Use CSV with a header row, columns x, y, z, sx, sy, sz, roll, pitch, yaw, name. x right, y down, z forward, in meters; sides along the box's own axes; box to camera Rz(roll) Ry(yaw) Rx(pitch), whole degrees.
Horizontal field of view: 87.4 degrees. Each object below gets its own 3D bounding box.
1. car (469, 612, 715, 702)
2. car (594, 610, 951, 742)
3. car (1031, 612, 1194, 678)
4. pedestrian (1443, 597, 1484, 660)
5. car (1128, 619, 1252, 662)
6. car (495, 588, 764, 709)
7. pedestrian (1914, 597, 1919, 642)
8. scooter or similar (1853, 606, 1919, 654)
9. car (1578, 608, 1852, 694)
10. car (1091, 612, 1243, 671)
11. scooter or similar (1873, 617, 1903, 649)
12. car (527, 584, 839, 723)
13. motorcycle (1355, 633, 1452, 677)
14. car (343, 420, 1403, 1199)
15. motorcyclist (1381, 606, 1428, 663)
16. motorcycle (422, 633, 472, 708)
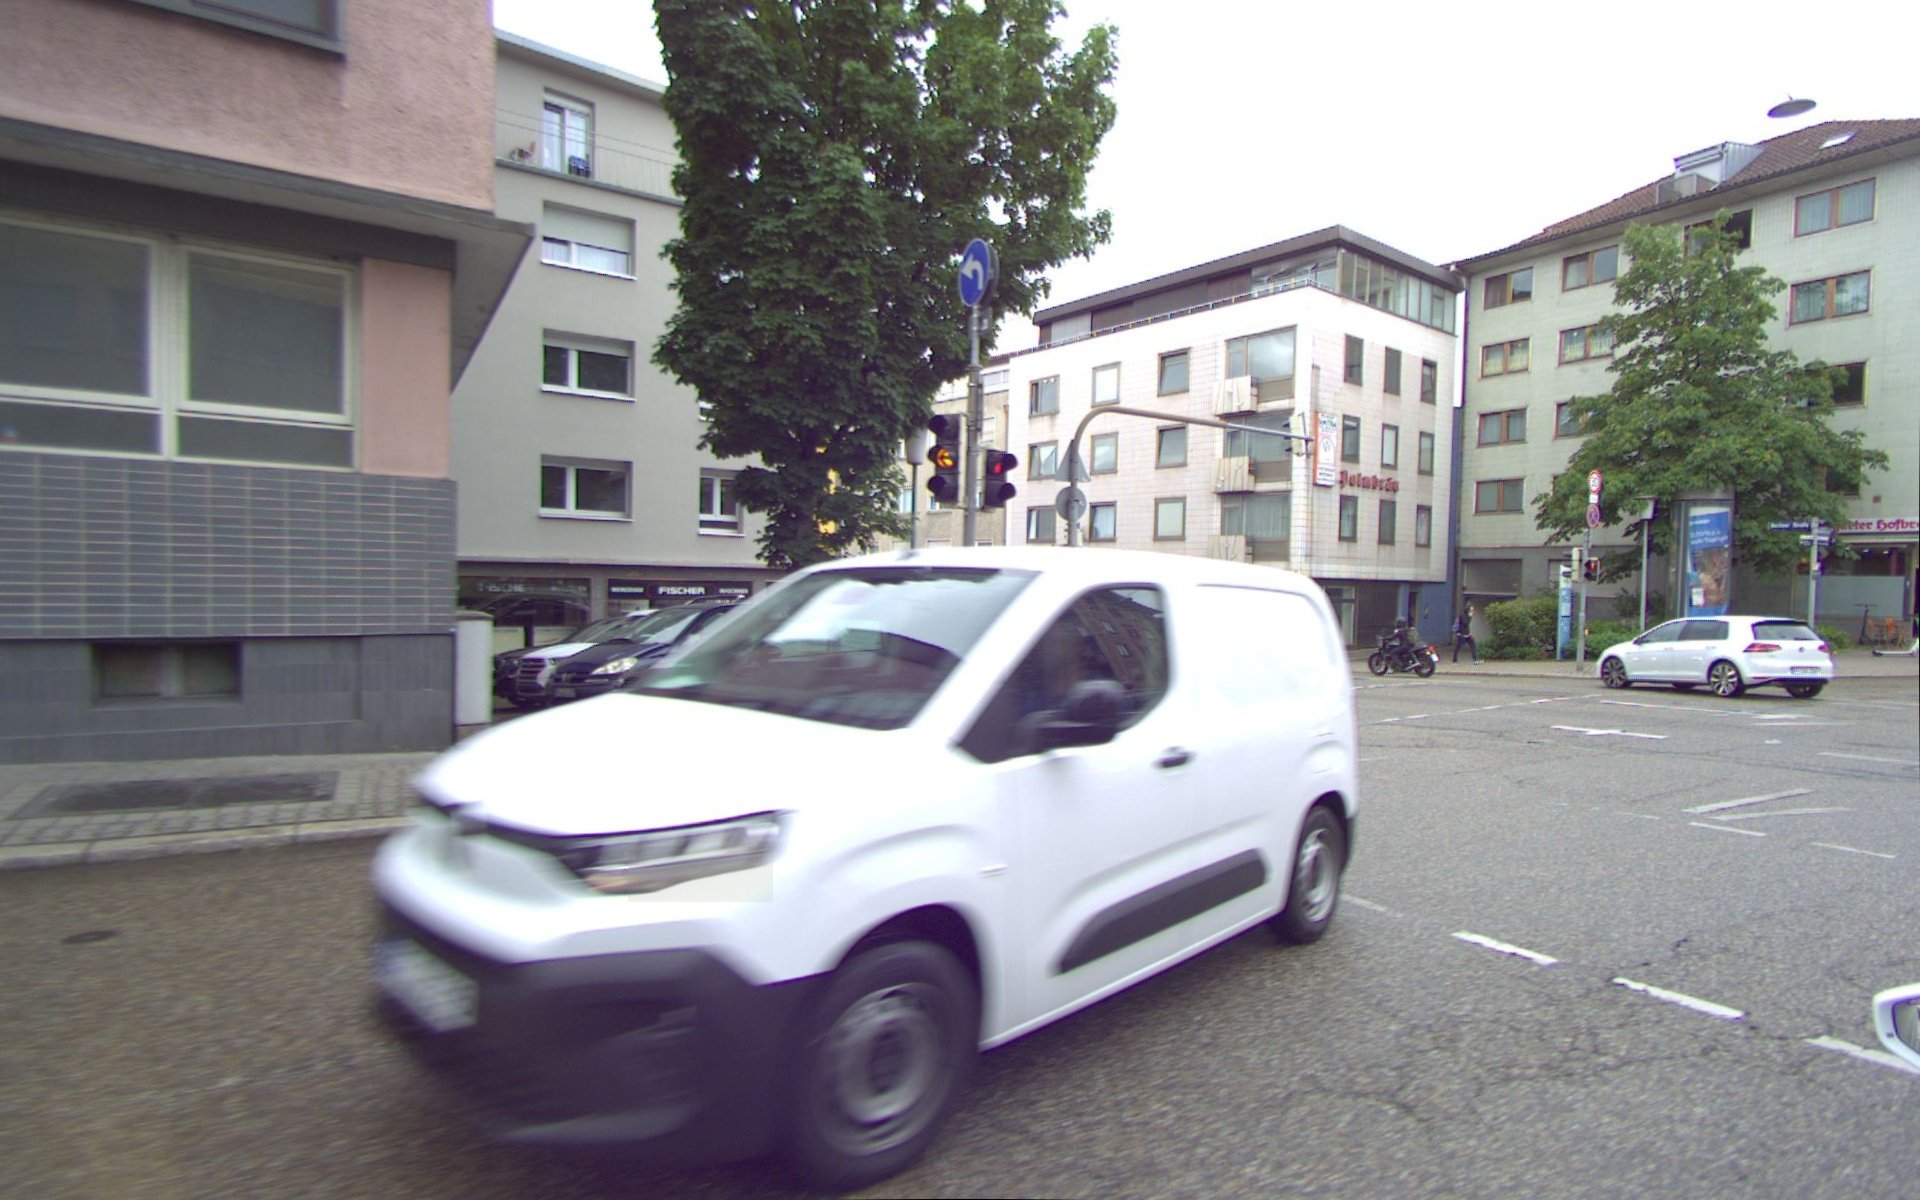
x,y,z,sx,sy,sz,roll,pitch,yaw,name
-6.842,1.051,18.924,1.836,1.516,3.975,-3,-4,45,car
-2.238,0.877,12.335,3.958,1.378,1.722,2,-2,-33,car
3.860,1.099,26.193,1.805,1.497,4.339,0,0,-33,car
15.233,0.837,30.407,0.740,1.842,0.917,-1,2,-1,pedestrian
8.422,1.461,37.103,1.753,1.410,4.334,-2,0,-37,car
-5.546,0.778,17.163,1.835,1.817,3.977,-3,-2,43,car
30.099,0.624,31.183,0.572,1.419,0.515,2,2,-33,pedestrian
25.268,0.816,27.169,1.534,1.206,0.500,4,2,32,scooter or similar
14.404,0.958,19.538,1.801,1.481,4.377,0,-2,-5,car
5.915,1.205,29.183,1.805,1.557,4.340,0,-2,-33,car
26.494,0.935,28.687,0.452,0.854,1.317,4,2,37,scooter or similar
-3.928,0.790,14.934,1.745,1.751,4.332,-3,-4,36,car
11.713,1.433,26.596,0.856,1.019,2.229,1,0,-35,motorcycle
0.238,0.588,4.240,1.785,1.738,4.524,-1,-2,40,car
11.730,0.906,26.511,0.898,1.472,0.739,1,1,-35,motorcyclist
-8.813,1.185,17.243,0.480,1.105,1.509,2,2,-37,motorcycle
